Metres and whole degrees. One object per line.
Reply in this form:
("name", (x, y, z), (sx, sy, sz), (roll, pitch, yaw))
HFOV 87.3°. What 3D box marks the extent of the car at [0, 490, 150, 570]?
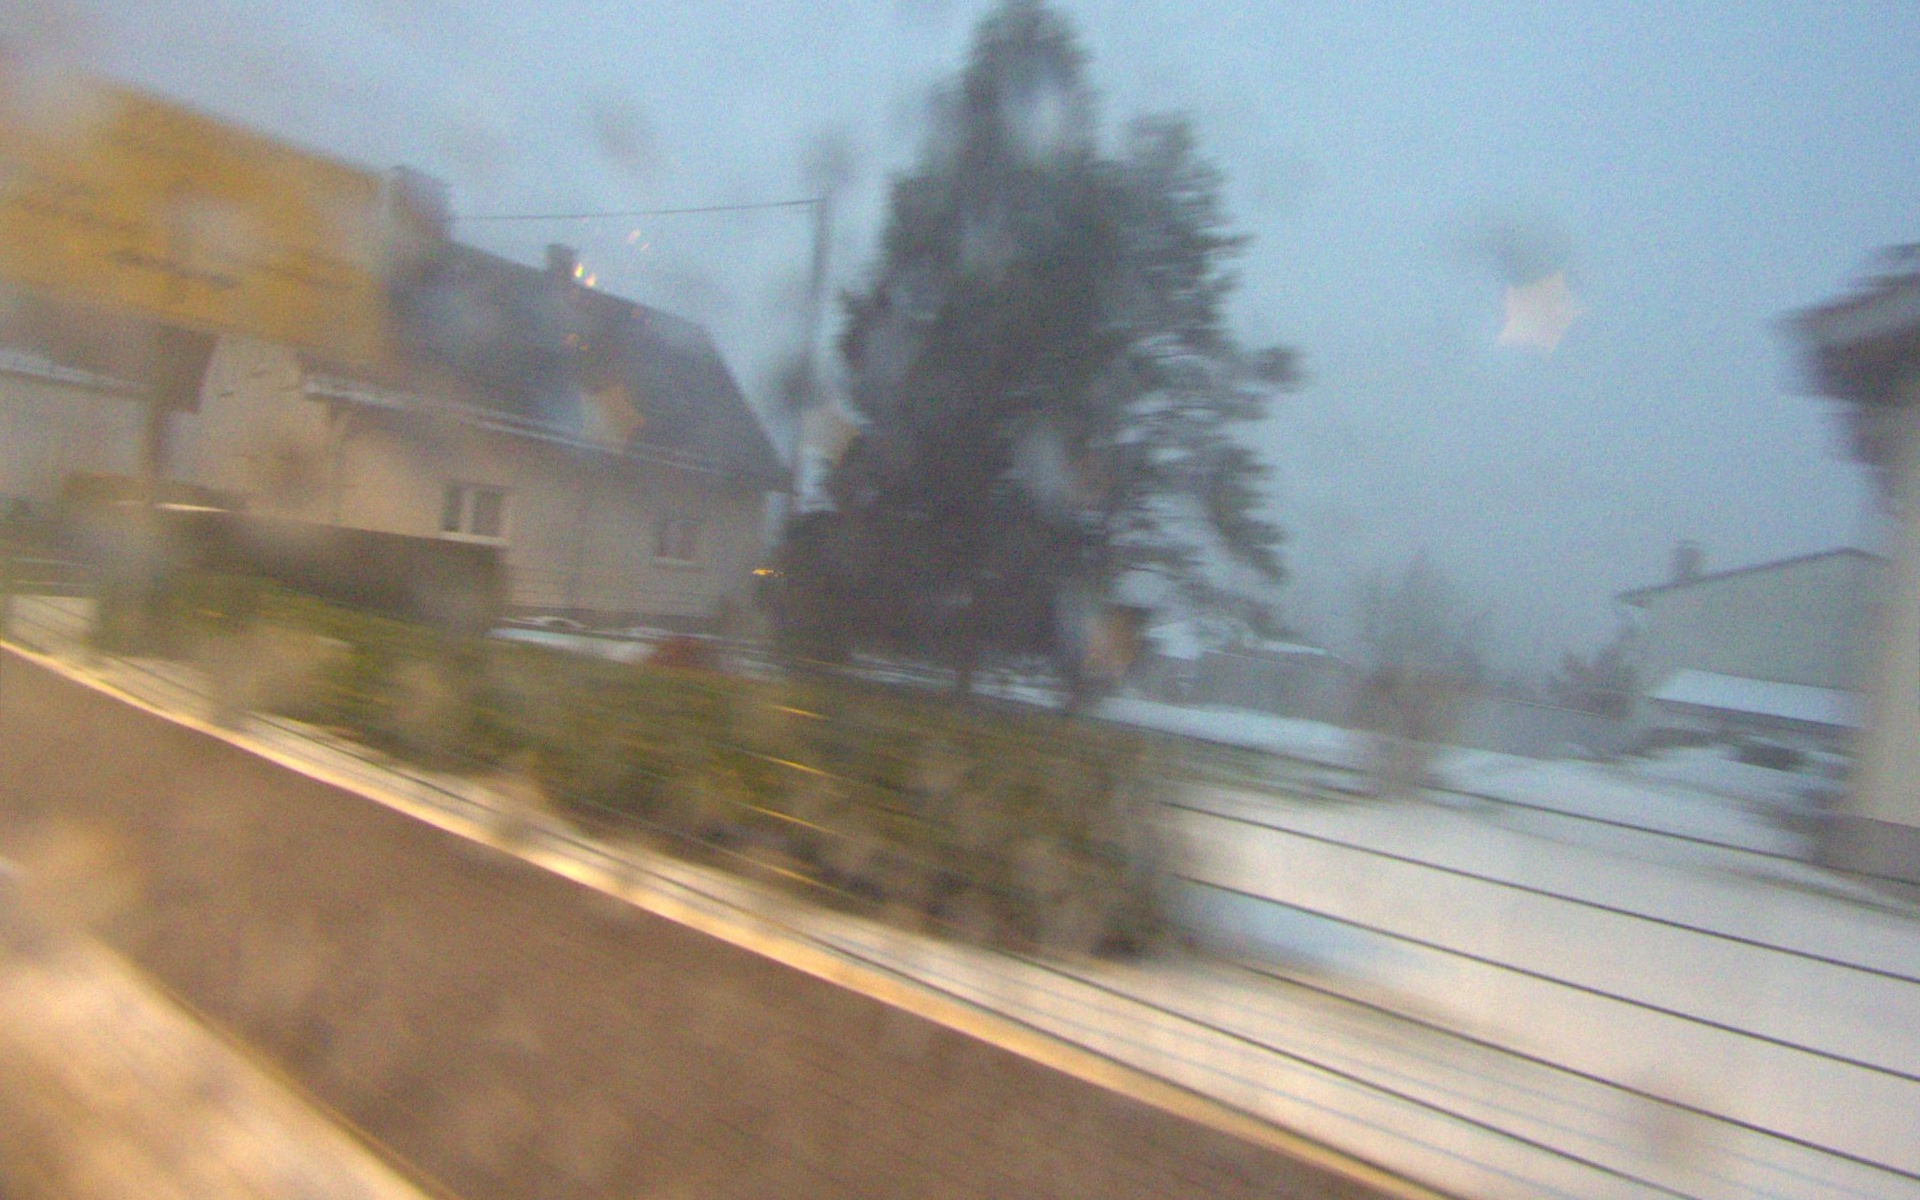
("car", (-22.972, -1.834, 25.072), (1.689, 1.470, 3.987), (10, -1, 39))
